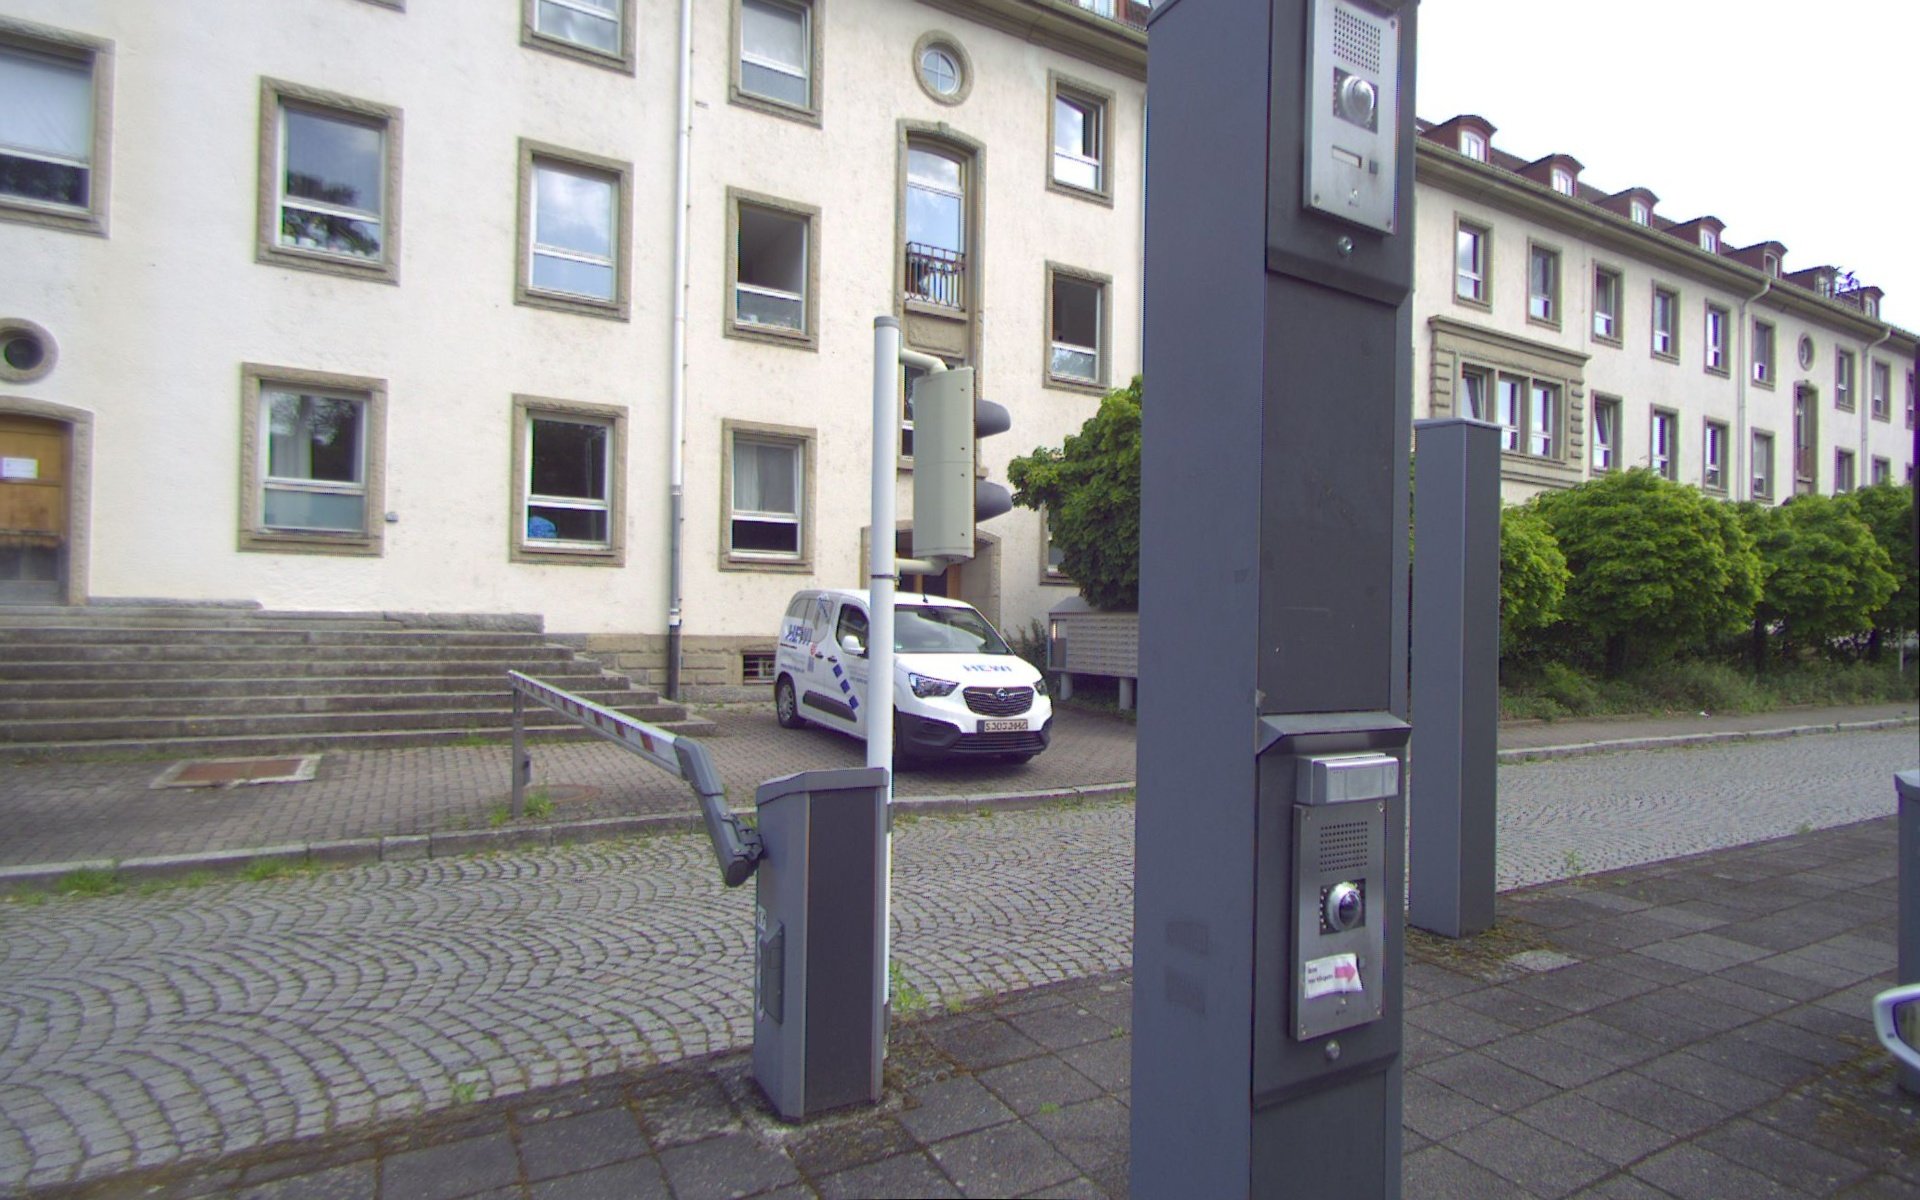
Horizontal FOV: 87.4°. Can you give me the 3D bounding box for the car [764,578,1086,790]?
[{"bbox_3d":[-0.627,0.772,11.591,1.800,1.830,4.277,2,2,-31],"label":"car"}]
